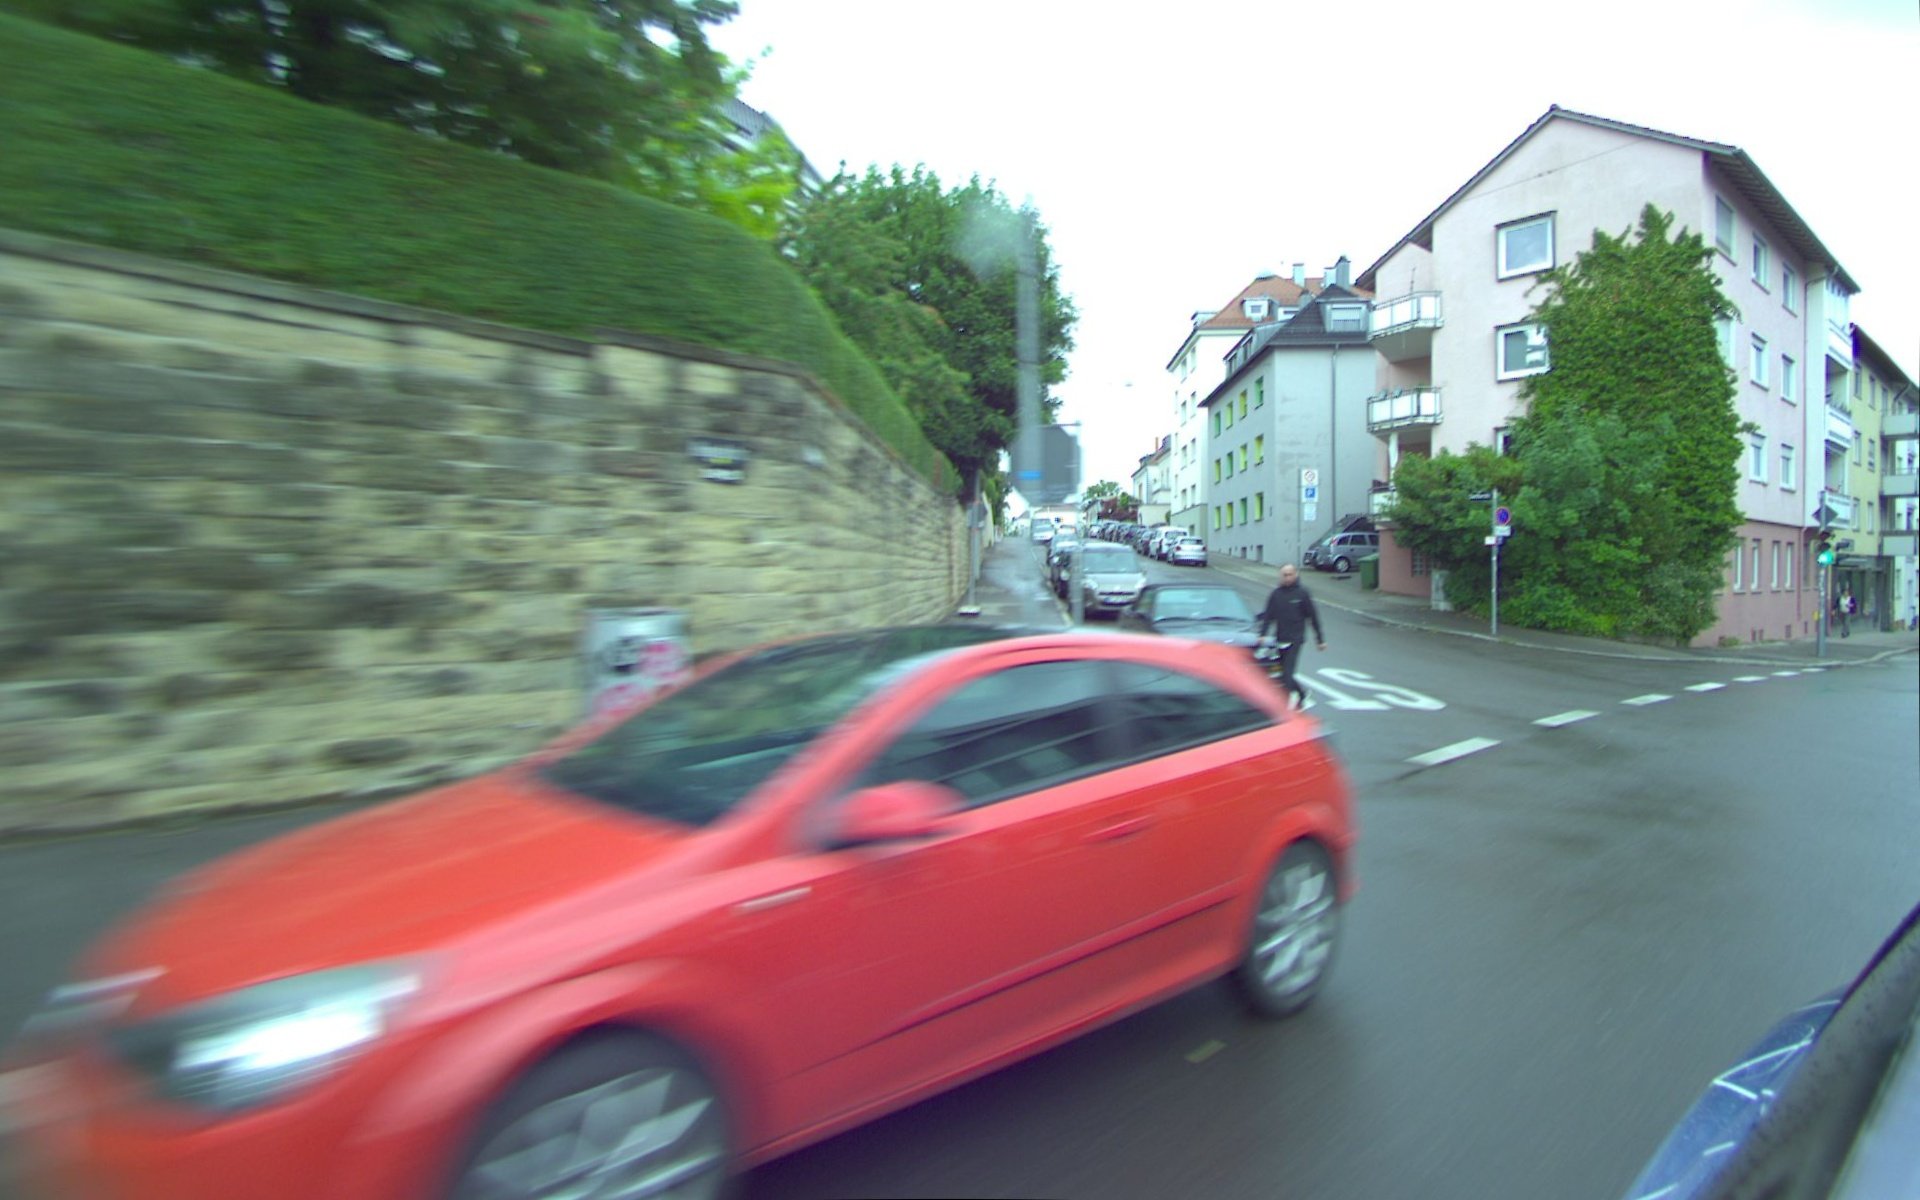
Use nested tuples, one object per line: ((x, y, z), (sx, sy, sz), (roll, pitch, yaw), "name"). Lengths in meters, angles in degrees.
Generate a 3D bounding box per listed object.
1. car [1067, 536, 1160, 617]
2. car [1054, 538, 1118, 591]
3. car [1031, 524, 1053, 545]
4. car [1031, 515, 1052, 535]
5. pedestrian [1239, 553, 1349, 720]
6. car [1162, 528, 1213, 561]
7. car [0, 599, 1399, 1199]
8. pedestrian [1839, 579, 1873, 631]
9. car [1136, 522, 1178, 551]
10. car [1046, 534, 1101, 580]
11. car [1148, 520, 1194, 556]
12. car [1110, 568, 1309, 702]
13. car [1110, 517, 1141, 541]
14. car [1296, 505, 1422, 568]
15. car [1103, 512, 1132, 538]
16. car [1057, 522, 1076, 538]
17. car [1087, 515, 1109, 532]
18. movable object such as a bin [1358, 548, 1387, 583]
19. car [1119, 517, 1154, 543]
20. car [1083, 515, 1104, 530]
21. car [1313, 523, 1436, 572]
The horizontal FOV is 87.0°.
((3.789, -0.691, 25.637), (1.792, 1.760, 4.416), (1, 5, 2), "car")
((3.988, -1.205, 32.561), (1.767, 1.471, 4.001), (1, 5, 3), "car")
((6.303, -5.046, 77.394), (1.654, 1.470, 3.844), (-1, 5, 6), "car")
((6.692, -6.172, 83.137), (1.654, 1.470, 3.844), (-1, 5, 6), "car")
((3.664, 0.371, 11.104), (0.889, 1.736, 0.725), (0, 2, -40), "pedestrian")
((11.305, -2.810, 50.481), (1.652, 1.471, 3.920), (1, 5, 1), "car")
((-0.385, 0.730, 3.369), (4.128, 1.439, 1.724), (0, 0, -40), "car")
((32.162, 0.181, 36.320), (0.735, 1.795, 0.715), (1, 3, -41), "pedestrian")
((11.815, -3.844, 60.932), (1.766, 1.527, 4.003), (1, 5, 1), "car")
((4.246, -1.684, 38.283), (1.652, 1.470, 4.342), (-1, 5, 1), "car")
((11.438, -3.386, 55.036), (1.652, 1.786, 3.920), (1, 5, 1), "car")
((3.199, 0.336, 13.861), (1.719, 1.409, 4.279), (0, 4, 1), "car")
((12.692, -5.495, 77.778), (1.766, 1.717, 4.003), (1, 5, 1), "car")
((17.361, -2.831, 44.273), (4.513, 2.622, 2.336), (1, 5, 5), "car")
((12.986, -6.182, 83.408), (1.766, 1.978, 4.003), (1, 5, 1), "car")
((11.063, -7.287, 105.373), (1.652, 1.470, 3.849), (-1, 5, 1), "car")
((14.050, -7.808, 103.016), (1.766, 1.527, 4.003), (1, 5, 1), "car")
((14.396, -1.208, 35.305), (0.754, 1.170, 0.740), (2, 5, 39), "movable object such as a bin")
((12.544, -4.995, 72.160), (1.766, 1.717, 4.003), (1, 5, 1), "car")
((14.384, -8.417, 109.523), (1.766, 1.527, 4.003), (1, 5, 1), "car")
((17.041, -2.201, 41.790), (4.185, 1.884, 1.954), (1, 5, 2), "car")
